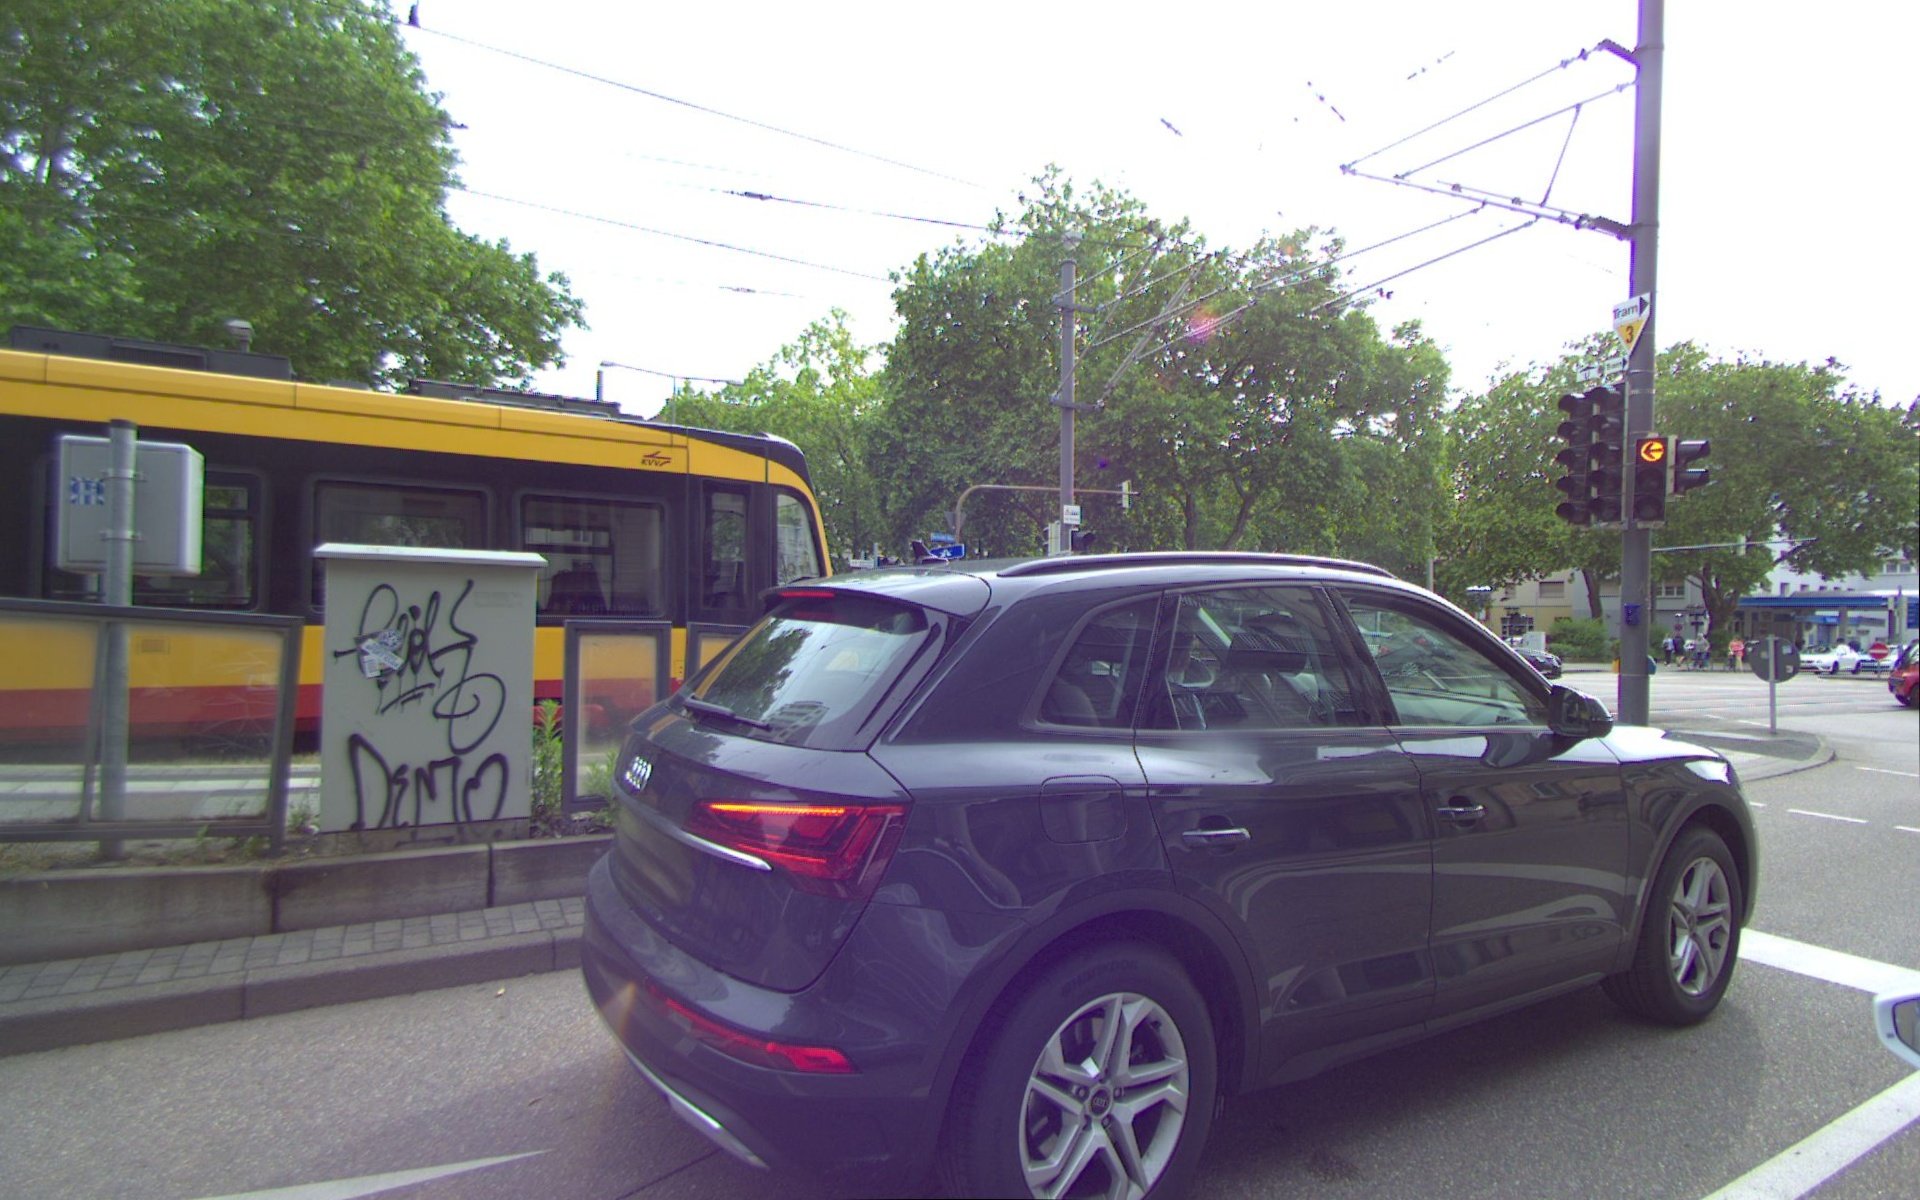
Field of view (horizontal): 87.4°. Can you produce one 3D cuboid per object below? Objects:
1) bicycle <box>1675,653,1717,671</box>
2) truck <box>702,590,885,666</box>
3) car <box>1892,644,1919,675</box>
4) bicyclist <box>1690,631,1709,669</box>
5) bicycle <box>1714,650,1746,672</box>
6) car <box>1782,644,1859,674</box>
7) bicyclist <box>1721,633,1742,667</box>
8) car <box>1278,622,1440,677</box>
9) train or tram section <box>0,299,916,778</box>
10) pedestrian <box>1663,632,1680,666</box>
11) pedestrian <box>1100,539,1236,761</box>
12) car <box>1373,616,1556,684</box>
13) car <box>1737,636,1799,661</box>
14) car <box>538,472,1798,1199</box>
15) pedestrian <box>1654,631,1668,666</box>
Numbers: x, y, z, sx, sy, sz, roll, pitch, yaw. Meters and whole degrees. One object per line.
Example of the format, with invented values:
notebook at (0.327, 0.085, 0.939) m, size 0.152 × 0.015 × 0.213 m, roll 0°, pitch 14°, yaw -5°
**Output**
bicycle at (36.123, 3.026, 49.351) m, size 0.644 × 0.783 × 1.682 m, roll 2°, pitch 0°, yaw -9°
truck at (-7.686, 1.129, 45.011) m, size 10.039 × 2.980 × 2.621 m, roll 1°, pitch 0°, yaw 44°
car at (53.130, 3.275, 55.146) m, size 3.792 × 1.578 × 1.885 m, roll 2°, pitch 0°, yaw -30°
bicyclist at (36.138, 2.442, 49.110) m, size 0.461 × 1.808 × 0.534 m, roll 2°, pitch 0°, yaw -10°
bicycle at (37.031, 2.925, 48.283) m, size 1.914 × 1.031 × 0.519 m, roll 2°, pitch 0°, yaw -30°
car at (41.560, 2.845, 48.483) m, size 3.954 × 1.343 × 1.626 m, roll 2°, pitch 0°, yaw -31°
bicyclist at (37.224, 2.400, 48.449) m, size 0.611 × 1.588 × 0.585 m, roll 2°, pitch 0°, yaw -30°
car at (13.173, 1.598, 33.328) m, size 4.660 × 1.530 × 1.830 m, roll 2°, pitch 0°, yaw 39°
train or tram section at (-8.049, -0.480, 8.954) m, size 15.665 × 3.636 × 3.045 m, roll 2°, pitch 0°, yaw -31°
pedestrian at (37.570, 2.582, 53.044) m, size 0.541 × 1.808 × 0.375 m, roll 2°, pitch 0°, yaw -4°
pedestrian at (1.674, 0.388, 8.127) m, size 0.722 × 1.683 × 0.750 m, roll 2°, pitch 0°, yaw -30°
car at (13.840, 1.314, 27.660) m, size 4.268 × 1.607 × 1.806 m, roll 2°, pitch 0°, yaw 35°
car at (54.952, 3.315, 68.281) m, size 3.954 × 1.550 × 1.984 m, roll 2°, pitch 0°, yaw -30°
car at (0.946, 0.662, 3.606) m, size 4.308 × 1.622 × 1.870 m, roll 2°, pitch -1°, yaw -31°
pedestrian at (37.308, 2.573, 53.433) m, size 0.440 × 1.808 × 0.375 m, roll 2°, pitch 0°, yaw 3°
